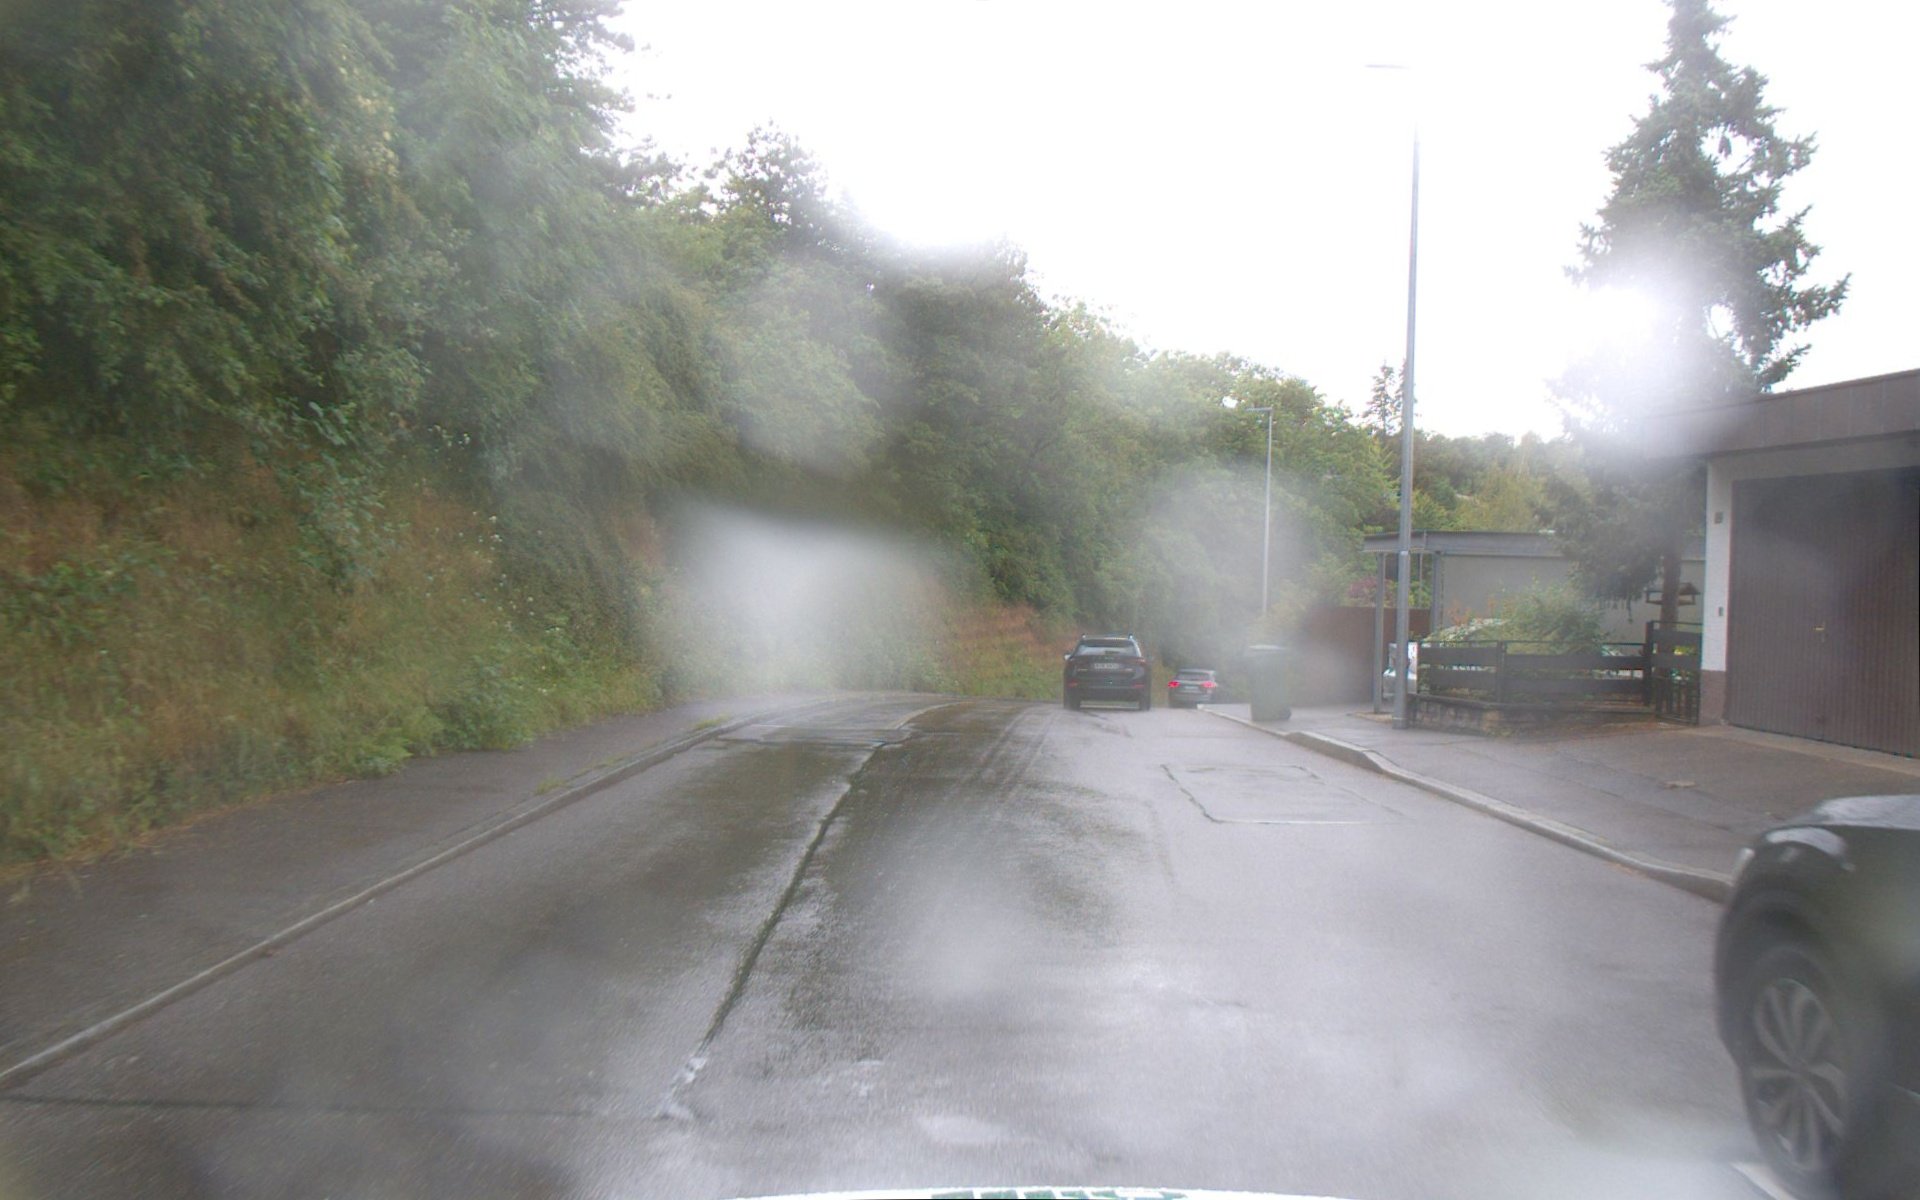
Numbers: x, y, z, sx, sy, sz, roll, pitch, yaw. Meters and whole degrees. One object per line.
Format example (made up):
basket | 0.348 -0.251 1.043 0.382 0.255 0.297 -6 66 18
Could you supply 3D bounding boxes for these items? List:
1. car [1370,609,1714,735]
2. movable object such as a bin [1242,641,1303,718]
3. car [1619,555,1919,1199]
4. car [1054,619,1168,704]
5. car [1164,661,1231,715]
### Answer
car | 7.693 0.947 22.272 4.126 1.440 1.942 2 -2 12
movable object such as a bin | 4.703 1.195 24.936 0.773 1.115 0.675 -3 -2 2
car | 3.072 0.730 3.080 1.837 1.619 4.479 1 1 -1
car | 3.018 1.295 33.803 1.831 1.539 4.090 3 -3 -1
car | 8.681 3.149 60.174 1.951 1.633 4.412 2 1 14
